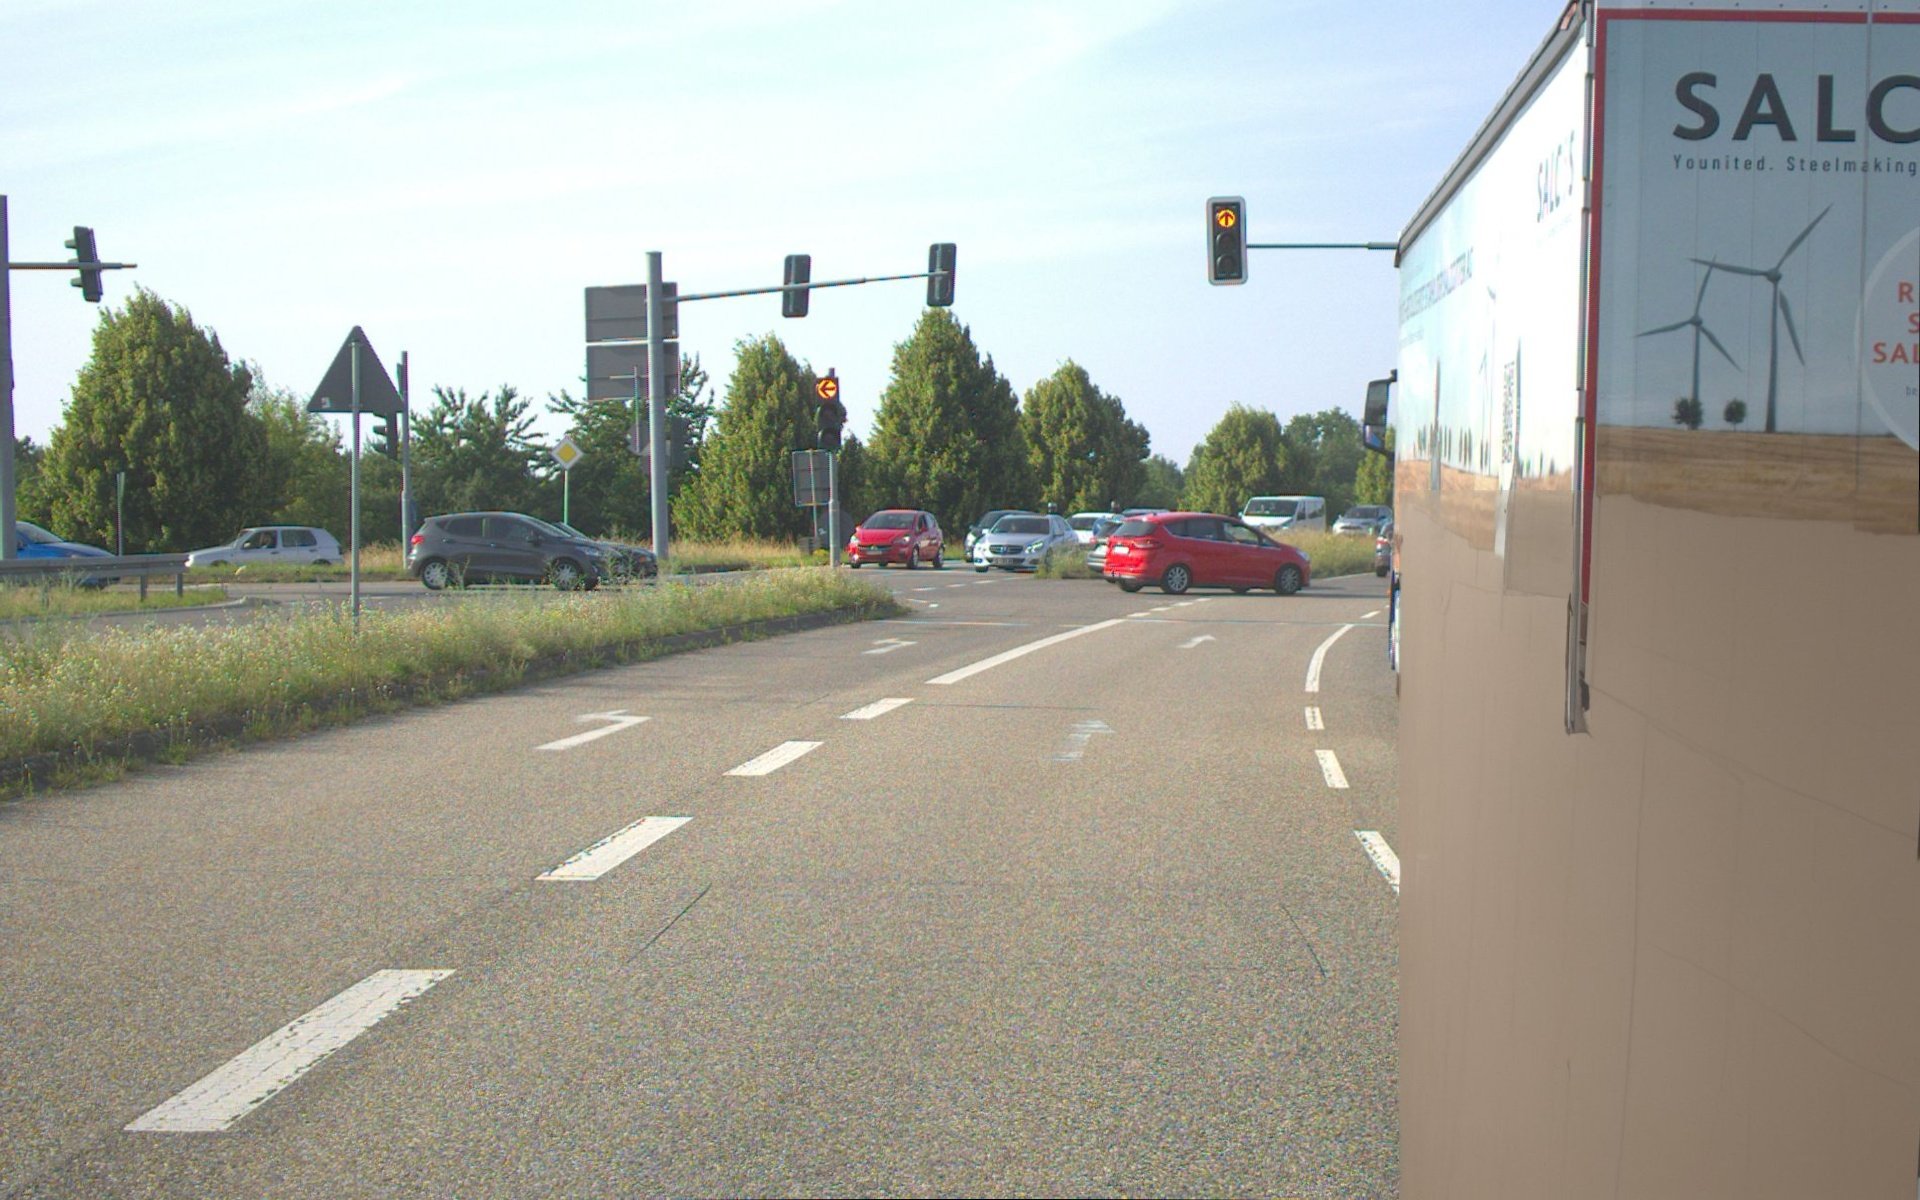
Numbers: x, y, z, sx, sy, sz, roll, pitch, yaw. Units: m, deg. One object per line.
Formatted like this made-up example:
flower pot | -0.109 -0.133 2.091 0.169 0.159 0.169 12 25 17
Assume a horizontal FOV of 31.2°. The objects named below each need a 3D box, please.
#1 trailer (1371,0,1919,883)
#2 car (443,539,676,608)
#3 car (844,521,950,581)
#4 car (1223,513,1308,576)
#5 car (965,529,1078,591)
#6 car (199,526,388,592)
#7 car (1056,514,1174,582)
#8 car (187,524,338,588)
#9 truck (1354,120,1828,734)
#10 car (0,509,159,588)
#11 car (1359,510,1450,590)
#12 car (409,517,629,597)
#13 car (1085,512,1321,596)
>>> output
trailer | 4.533 -1.239 21.572 3.282 4.665 13.146 1 1 5
car | -8.081 -0.532 69.469 4.266 1.318 1.914 1 0 13
car | -1.576 -1.260 87.679 1.722 1.483 3.802 0 1 15
car | 10.141 -1.854 114.012 1.927 2.071 4.240 0 1 18
car | 1.556 -1.018 85.180 1.787 1.483 4.648 0 1 14
car | -15.938 -0.995 82.251 3.989 1.534 1.999 0 1 11
car | 3.377 -1.106 74.104 1.837 1.372 4.275 1 0 12
car | -16.731 -1.057 82.456 3.183 1.487 1.779 0 2 -27
truck | 5.130 -1.379 29.100 3.300 4.641 5.731 1 1 5
car | -17.736 -1.016 66.542 3.974 1.487 1.778 1 1 12
car | 11.281 -1.251 87.120 1.910 1.909 4.275 1 0 12
car | -8.283 -0.799 64.819 3.783 1.411 1.921 1 0 4
car | 4.810 -0.899 67.990 4.263 1.559 1.902 1 0 -27
